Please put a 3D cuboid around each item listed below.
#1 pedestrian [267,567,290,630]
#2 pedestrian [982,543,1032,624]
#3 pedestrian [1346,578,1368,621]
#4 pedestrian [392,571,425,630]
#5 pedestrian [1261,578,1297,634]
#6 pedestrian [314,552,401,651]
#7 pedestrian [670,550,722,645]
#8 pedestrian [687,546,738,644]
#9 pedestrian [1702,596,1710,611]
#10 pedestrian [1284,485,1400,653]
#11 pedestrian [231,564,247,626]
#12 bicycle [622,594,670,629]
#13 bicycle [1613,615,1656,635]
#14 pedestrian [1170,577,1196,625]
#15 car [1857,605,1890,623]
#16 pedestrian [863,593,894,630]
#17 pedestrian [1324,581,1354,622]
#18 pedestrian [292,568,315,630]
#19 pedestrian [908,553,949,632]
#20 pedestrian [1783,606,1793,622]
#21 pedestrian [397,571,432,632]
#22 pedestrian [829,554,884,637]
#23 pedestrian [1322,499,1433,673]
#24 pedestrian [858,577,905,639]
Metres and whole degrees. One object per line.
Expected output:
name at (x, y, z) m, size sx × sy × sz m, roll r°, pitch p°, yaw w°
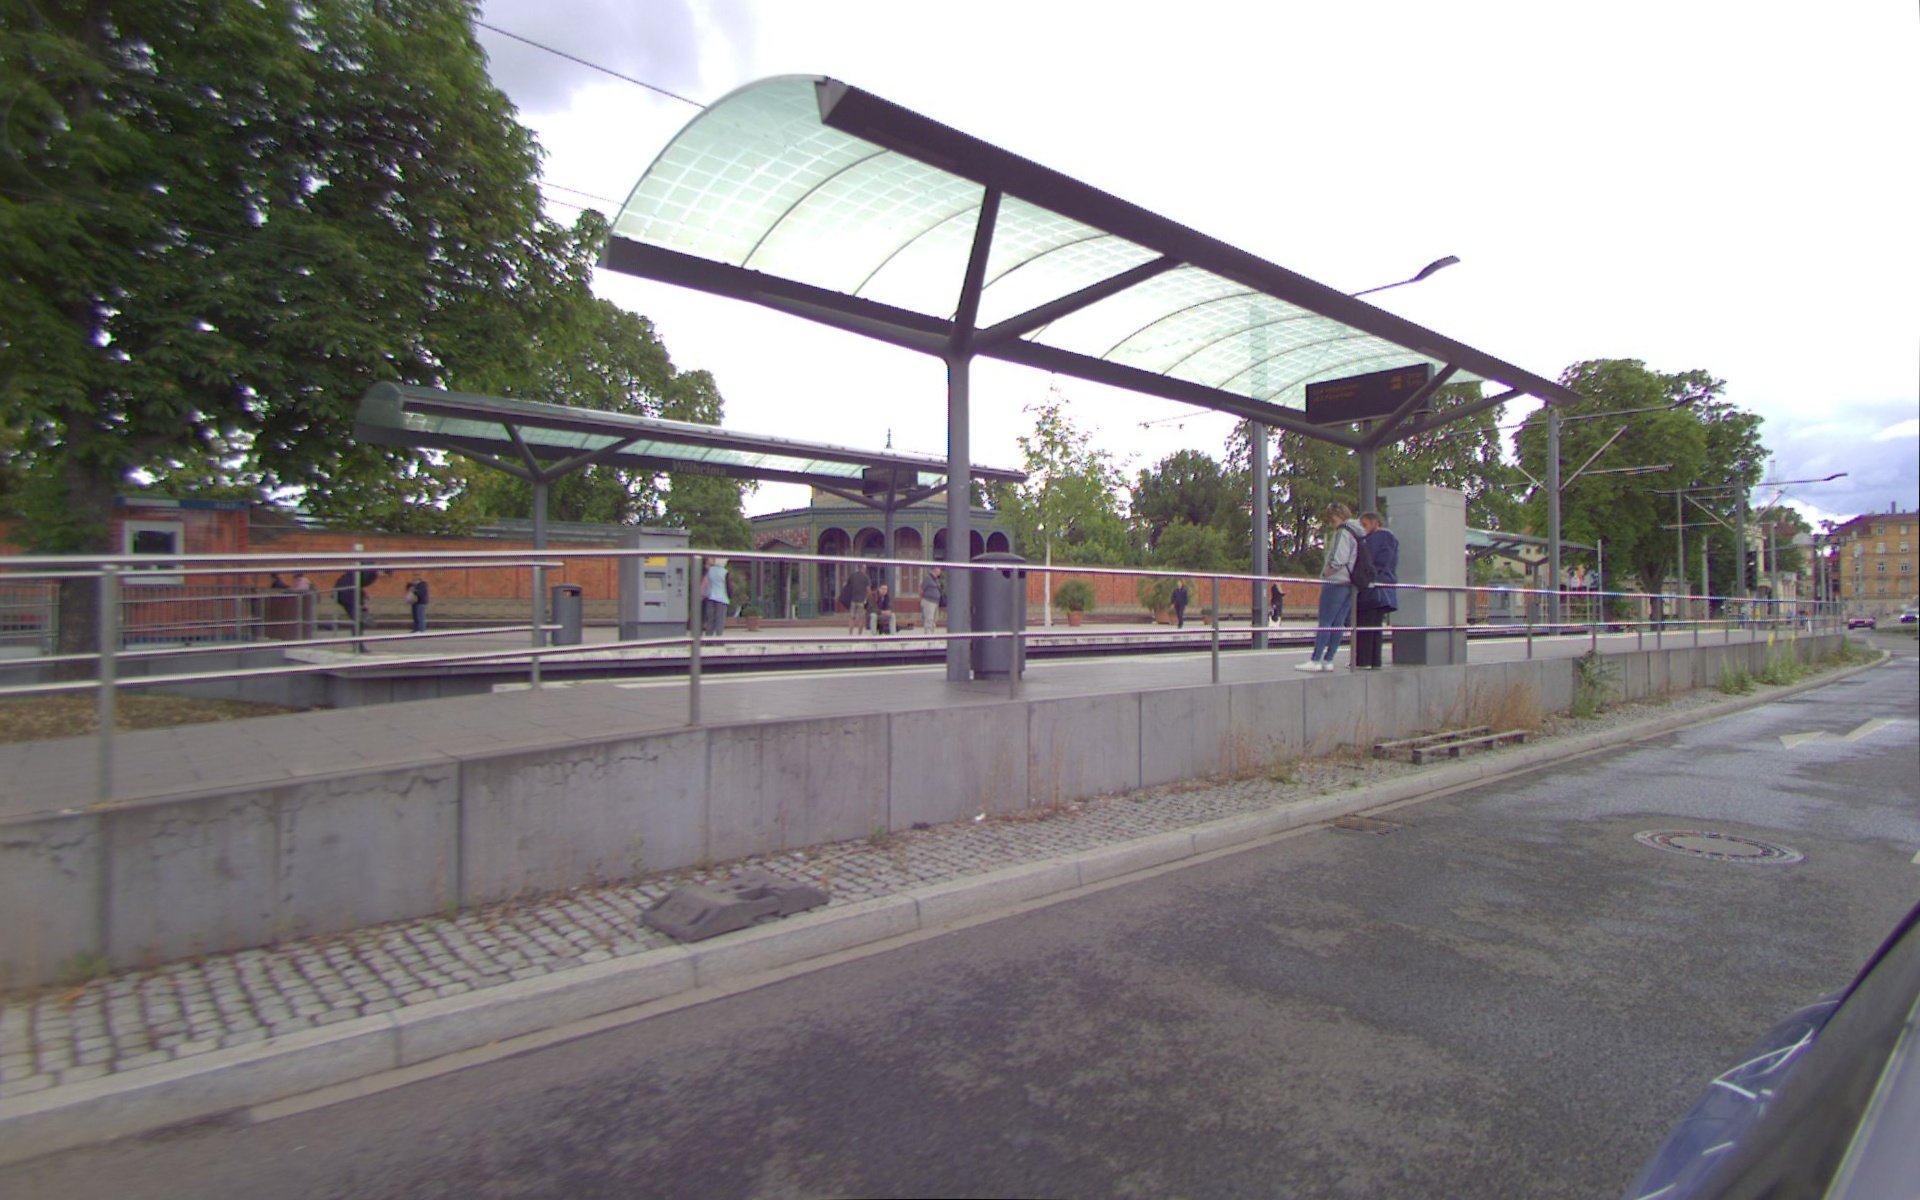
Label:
pedestrian at (-16.993, -0.034, 25.245) m, size 0.451 × 1.555 × 0.486 m, roll 0°, pitch -3°, yaw -38°
pedestrian at (1.105, -0.373, 23.902) m, size 0.933 × 1.862 × 0.633 m, roll 0°, pitch -3°, yaw -40°
pedestrian at (15.785, -0.019, 40.233) m, size 0.616 × 1.682 × 0.487 m, roll 0°, pitch -3°, yaw -32°
pedestrian at (-15.337, 0.015, 28.147) m, size 0.582 × 1.604 × 0.615 m, roll -4°, pitch -3°, yaw 36°
pedestrian at (9.925, 0.193, 31.486) m, size 0.851 × 1.709 × 0.633 m, roll 0°, pitch -3°, yaw -41°
pedestrian at (-8.553, 0.028, 14.359) m, size 0.951 × 1.341 × 0.674 m, roll 0°, pitch -3°, yaw -42°
pedestrian at (-4.860, -0.040, 18.615) m, size 0.665 × 1.699 × 0.674 m, roll 1°, pitch -4°, yaw -44°
pedestrian at (-4.423, -0.074, 18.086) m, size 0.664 × 1.699 × 0.544 m, roll 1°, pitch -4°, yaw -44°
pedestrian at (91.591, 0.448, 124.252) m, size 0.794 × 1.815 × 0.596 m, roll 1°, pitch -1°, yaw -42°
pedestrian at (3.779, -0.265, 10.028) m, size 0.760 × 1.574 × 0.751 m, roll 3°, pitch -5°, yaw -39°
pedestrian at (-17.728, -0.129, 24.873) m, size 0.310 × 1.506 × 0.342 m, roll 0°, pitch -3°, yaw -38°
bicycle at (-9.982, 0.388, 32.240) m, size 0.556 × 1.075 × 1.705 m, roll -3°, pitch -2°, yaw 18°
bicycle at (40.474, 1.505, 60.756) m, size 0.727 × 1.172 × 1.997 m, roll 1°, pitch -1°, yaw -36°
pedestrian at (8.881, 0.034, 40.233) m, size 0.547 × 1.862 × 0.937 m, roll -4°, pitch -3°, yaw 42°
car at (78.988, 1.190, 87.470) m, size 4.048 × 1.461 × 1.678 m, roll 1°, pitch -3°, yaw -42°
pedestrian at (-1.736, 0.242, 21.485) m, size 0.416 × 0.750 × 0.563 m, roll 0°, pitch -3°, yaw -32°
pedestrian at (15.393, 0.050, 41.111) m, size 0.757 × 1.621 × 0.742 m, roll 0°, pitch -3°, yaw -32°
pedestrian at (-16.463, -0.022, 25.384) m, size 0.451 × 1.506 × 0.486 m, roll 0°, pitch -3°, yaw -38°
pedestrian at (-0.671, -0.151, 21.688) m, size 0.663 × 1.641 × 0.525 m, roll 0°, pitch -3°, yaw -39°
pedestrian at (94.461, 1.576, 115.430) m, size 0.920 × 1.790 × 0.671 m, roll 1°, pitch -1°, yaw -42°
pedestrian at (-14.834, 0.050, 27.509) m, size 0.652 × 1.604 × 0.614 m, roll -4°, pitch -3°, yaw 35°
pedestrian at (-2.202, -0.076, 21.480) m, size 0.858 × 1.699 × 0.751 m, roll -4°, pitch -3°, yaw 39°
pedestrian at (4.339, -0.114, 10.536) m, size 0.718 × 1.722 × 0.772 m, roll 3°, pitch -5°, yaw -39°
pedestrian at (-1.564, 0.161, 20.186) m, size 0.663 × 1.206 × 0.658 m, roll 0°, pitch -3°, yaw -39°
